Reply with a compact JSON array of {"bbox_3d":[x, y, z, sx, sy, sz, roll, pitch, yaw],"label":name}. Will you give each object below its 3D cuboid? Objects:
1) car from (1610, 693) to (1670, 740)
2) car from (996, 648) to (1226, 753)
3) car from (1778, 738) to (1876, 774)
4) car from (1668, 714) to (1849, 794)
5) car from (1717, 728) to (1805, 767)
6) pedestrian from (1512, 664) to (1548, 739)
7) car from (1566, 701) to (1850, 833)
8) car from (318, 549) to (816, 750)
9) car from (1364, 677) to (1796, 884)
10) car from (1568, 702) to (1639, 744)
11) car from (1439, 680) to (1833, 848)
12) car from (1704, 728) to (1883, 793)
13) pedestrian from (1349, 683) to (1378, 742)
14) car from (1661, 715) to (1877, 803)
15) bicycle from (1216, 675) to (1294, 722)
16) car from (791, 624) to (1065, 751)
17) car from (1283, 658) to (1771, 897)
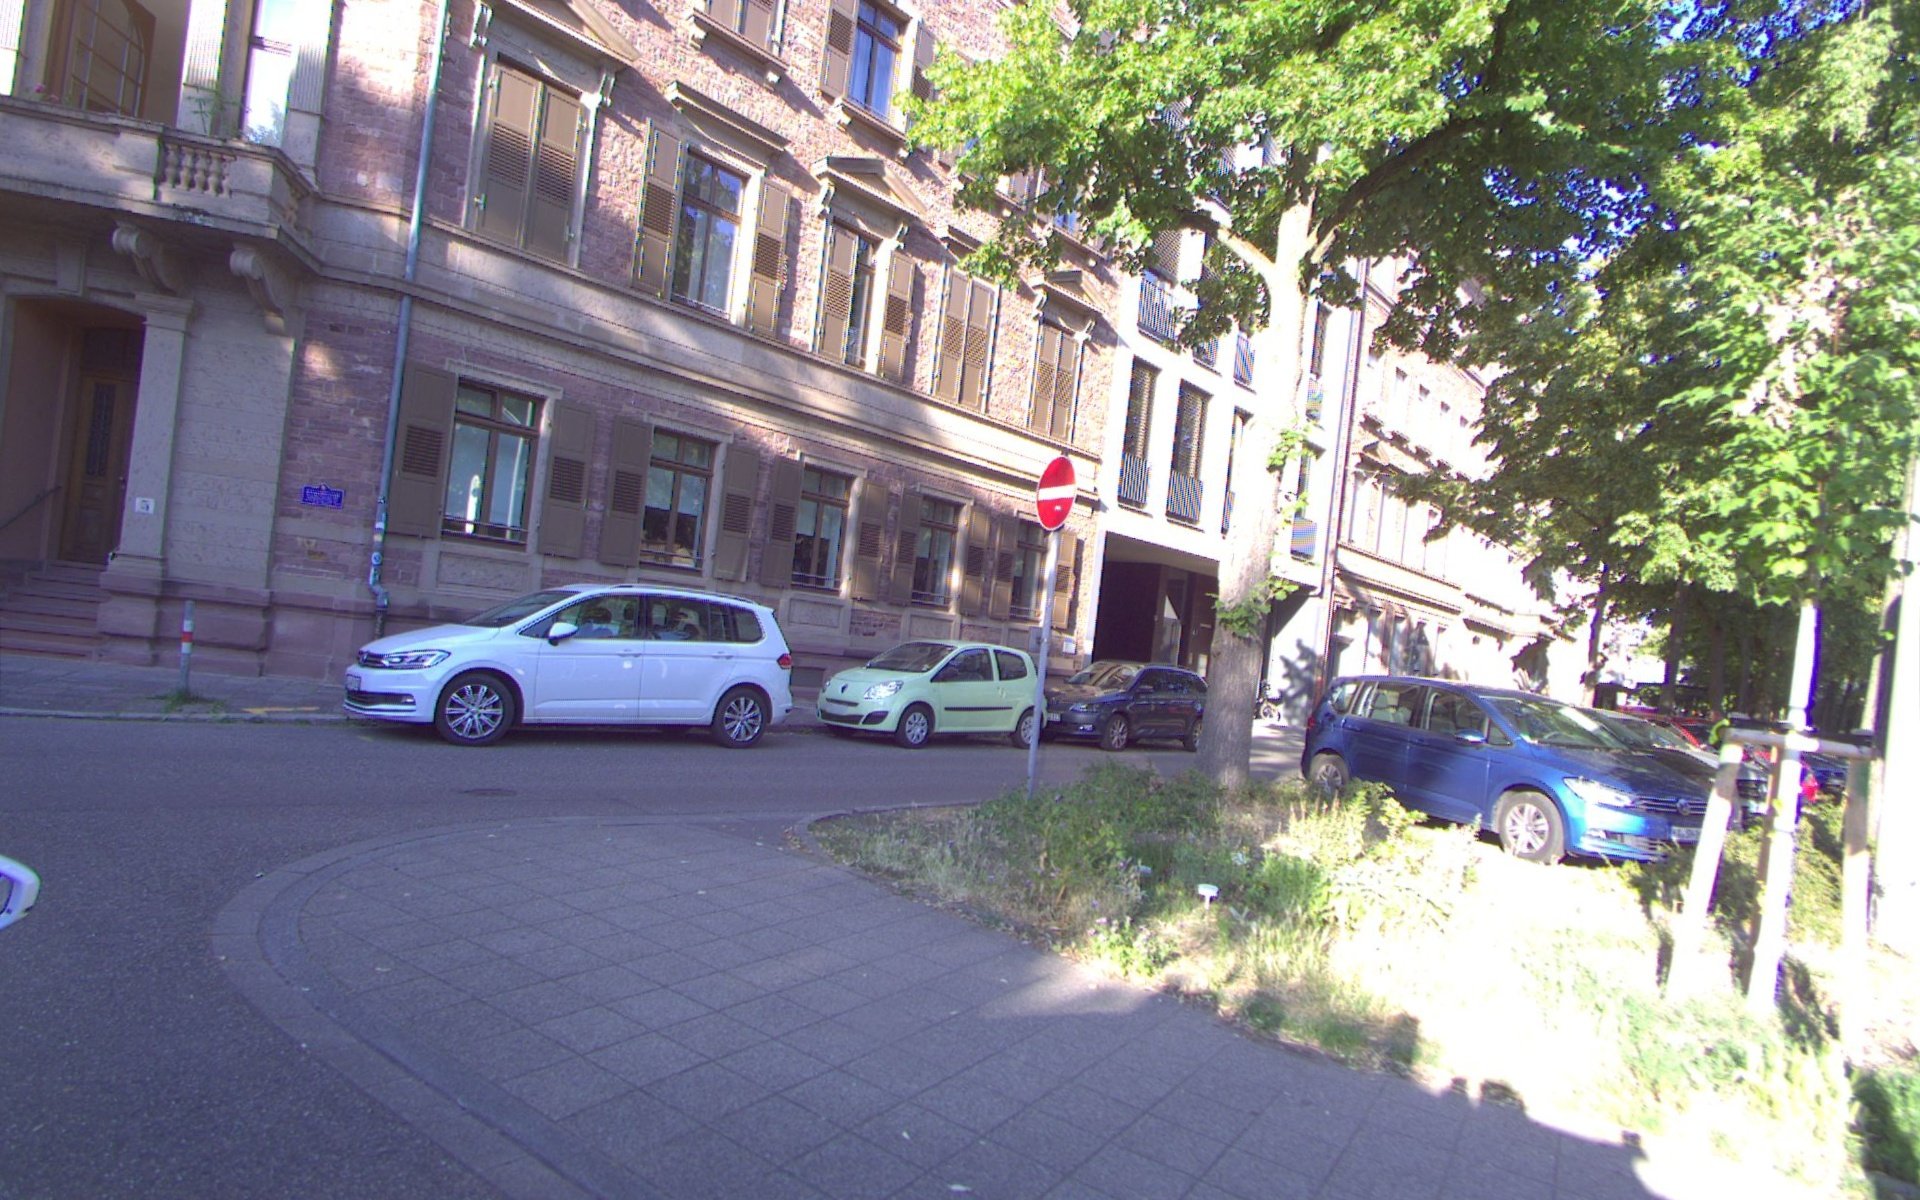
[{"bbox_3d":[37.746,6.474,55.822,1.972,2.198,4.592,7,-1,42],"label":"car"},{"bbox_3d":[2.709,1.783,17.415,4.140,1.506,1.722,9,-4,-44],"label":"car"},{"bbox_3d":[51.082,9.167,59.375,1.722,1.294,3.988,8,-1,-15],"label":"car"},{"bbox_3d":[25.473,4.878,32.309,1.780,1.715,4.273,8,-1,-11],"label":"car"},{"bbox_3d":[51.583,9.489,64.866,1.729,1.788,3.971,8,-1,-29],"label":"car"},{"bbox_3d":[23.596,4.193,41.648,0.908,2.983,0.697,6,0,42],"label":"pedestrian"},{"bbox_3d":[14.820,3.227,20.338,1.896,1.742,4.549,8,-1,-5],"label":"car"},{"bbox_3d":[-3.945,0.630,10.687,4.472,1.668,1.852,9,-4,-44],"label":"car"},{"bbox_3d":[7.558,2.127,12.948,1.900,1.654,4.539,8,-1,-15],"label":"car"},{"bbox_3d":[30.250,5.803,47.256,1.972,1.586,4.592,7,-1,42],"label":"car"},{"bbox_3d":[9.514,2.243,14.728,1.900,1.505,4.539,8,-1,-15],"label":"car"},{"bbox_3d":[27.634,5.291,33.535,1.781,1.294,4.270,8,-1,-14],"label":"car"},{"bbox_3d":[12.118,3.389,30.212,0.522,1.694,0.425,6,0,39],"label":"pedestrian"},{"bbox_3d":[21.653,4.204,27.171,1.780,1.505,4.273,8,-1,-11],"label":"car"},{"bbox_3d":[8.620,2.881,29.413,2.066,1.130,0.680,7,-1,-18],"label":"bicycle"},{"bbox_3d":[-0.354,1.299,14.470,1.720,1.506,3.705,3,-4,44],"label":"car"},{"bbox_3d":[5.552,1.657,10.638,1.716,1.706,4.406,7,-3,-17],"label":"car"}]
